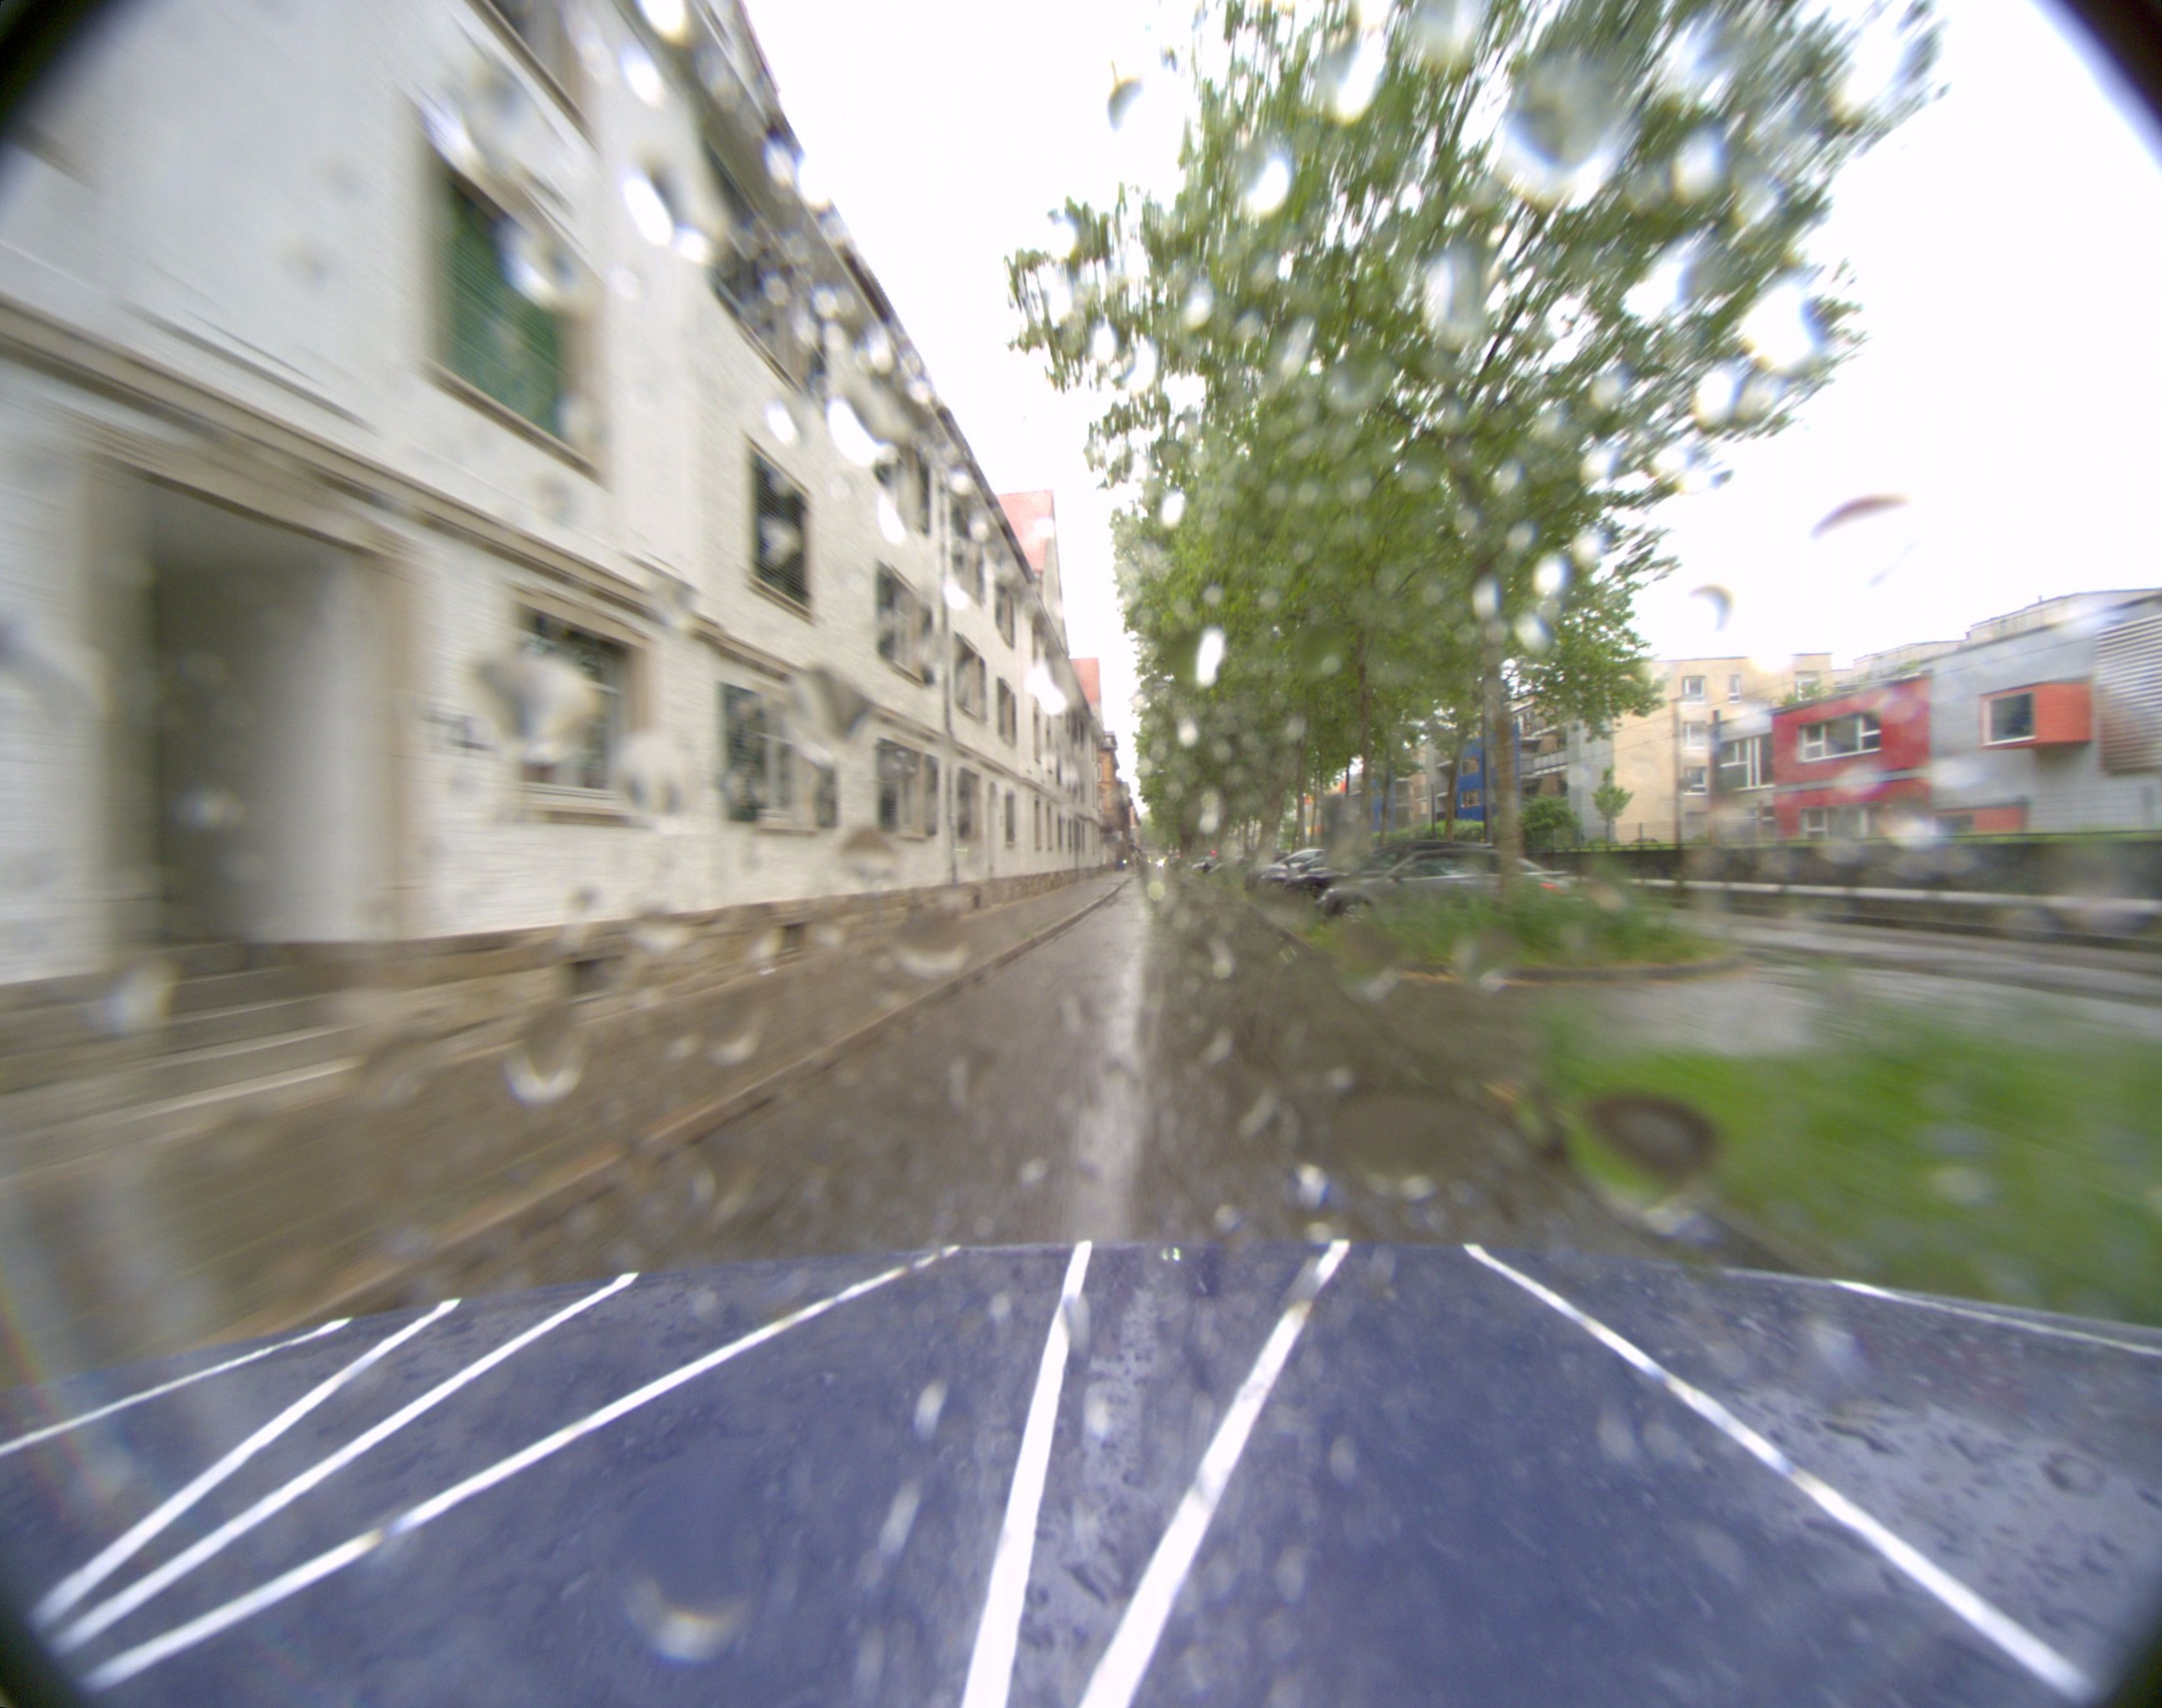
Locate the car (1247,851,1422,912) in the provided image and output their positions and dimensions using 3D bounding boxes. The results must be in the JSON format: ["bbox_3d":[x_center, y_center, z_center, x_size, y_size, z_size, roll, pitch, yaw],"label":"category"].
[{"bbox_3d":[7.065,0.694,21.385,4.320,1.499,1.752,1,1,38],"label":"car"}]

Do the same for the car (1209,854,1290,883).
[{"bbox_3d":[9.242,0.762,41.696,3.989,1.477,1.663,1,1,28],"label":"car"}]

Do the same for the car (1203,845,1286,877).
[{"bbox_3d":[10.693,0.400,49.779,4.878,2.002,2.004,1,1,36],"label":"car"}]

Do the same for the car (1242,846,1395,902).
[{"bbox_3d":[7.534,0.572,24.233,4.321,1.603,1.752,1,1,32],"label":"car"}]

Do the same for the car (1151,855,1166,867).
[{"bbox_3d":[10.778,1.009,105.165,1.850,1.586,4.218,-1,0,8],"label":"car"}]

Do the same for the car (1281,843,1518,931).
[{"bbox_3d":[6.524,0.583,15.777,4.218,1.601,1.752,1,1,36],"label":"car"}]

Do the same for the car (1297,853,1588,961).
[{"bbox_3d":[6.151,0.774,13.112,4.218,1.532,1.935,1,1,36],"label":"car"}]
